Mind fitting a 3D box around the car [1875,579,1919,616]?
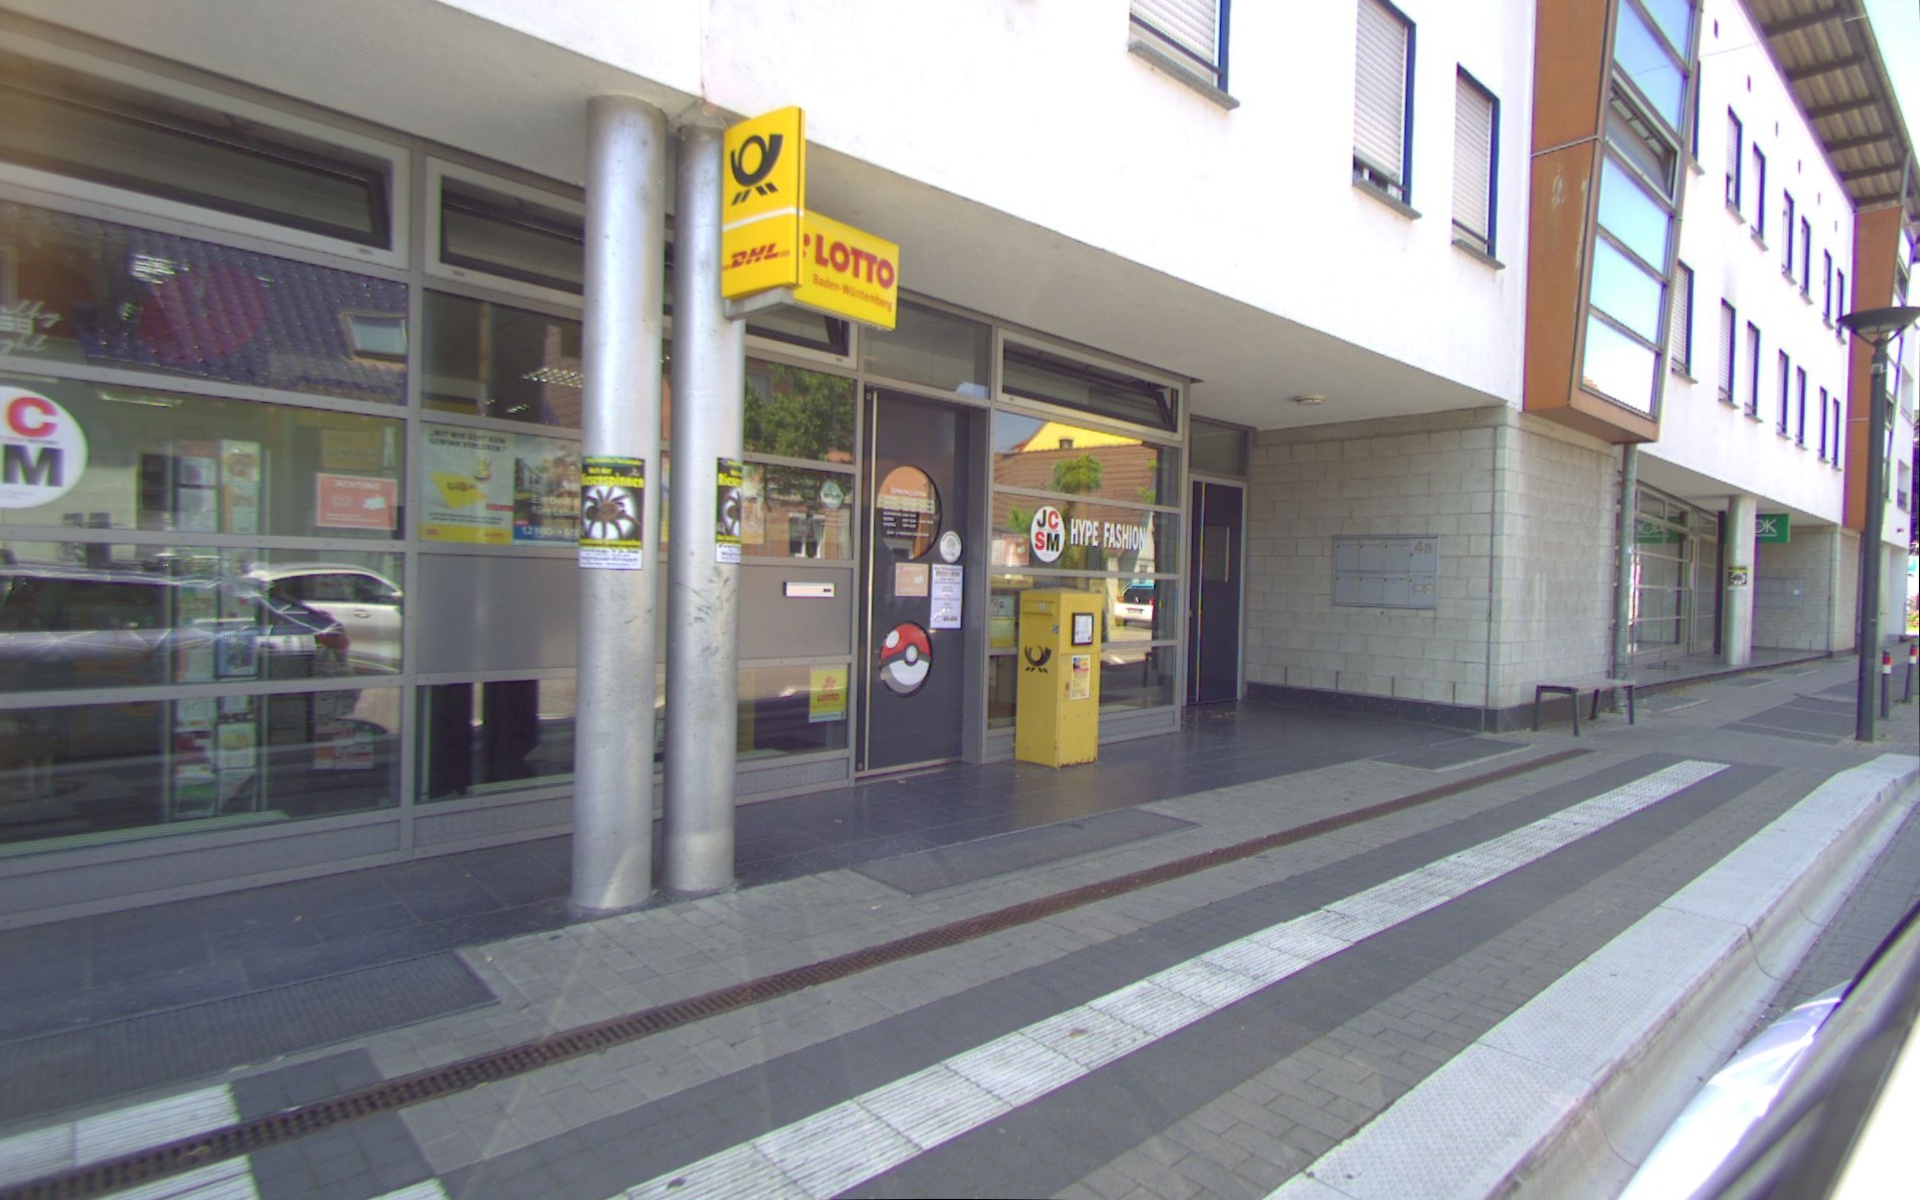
[{"bbox_3d":[51.780,-0.104,53.956,1.966,1.882,4.201,0,2,-42],"label":"car"}]
